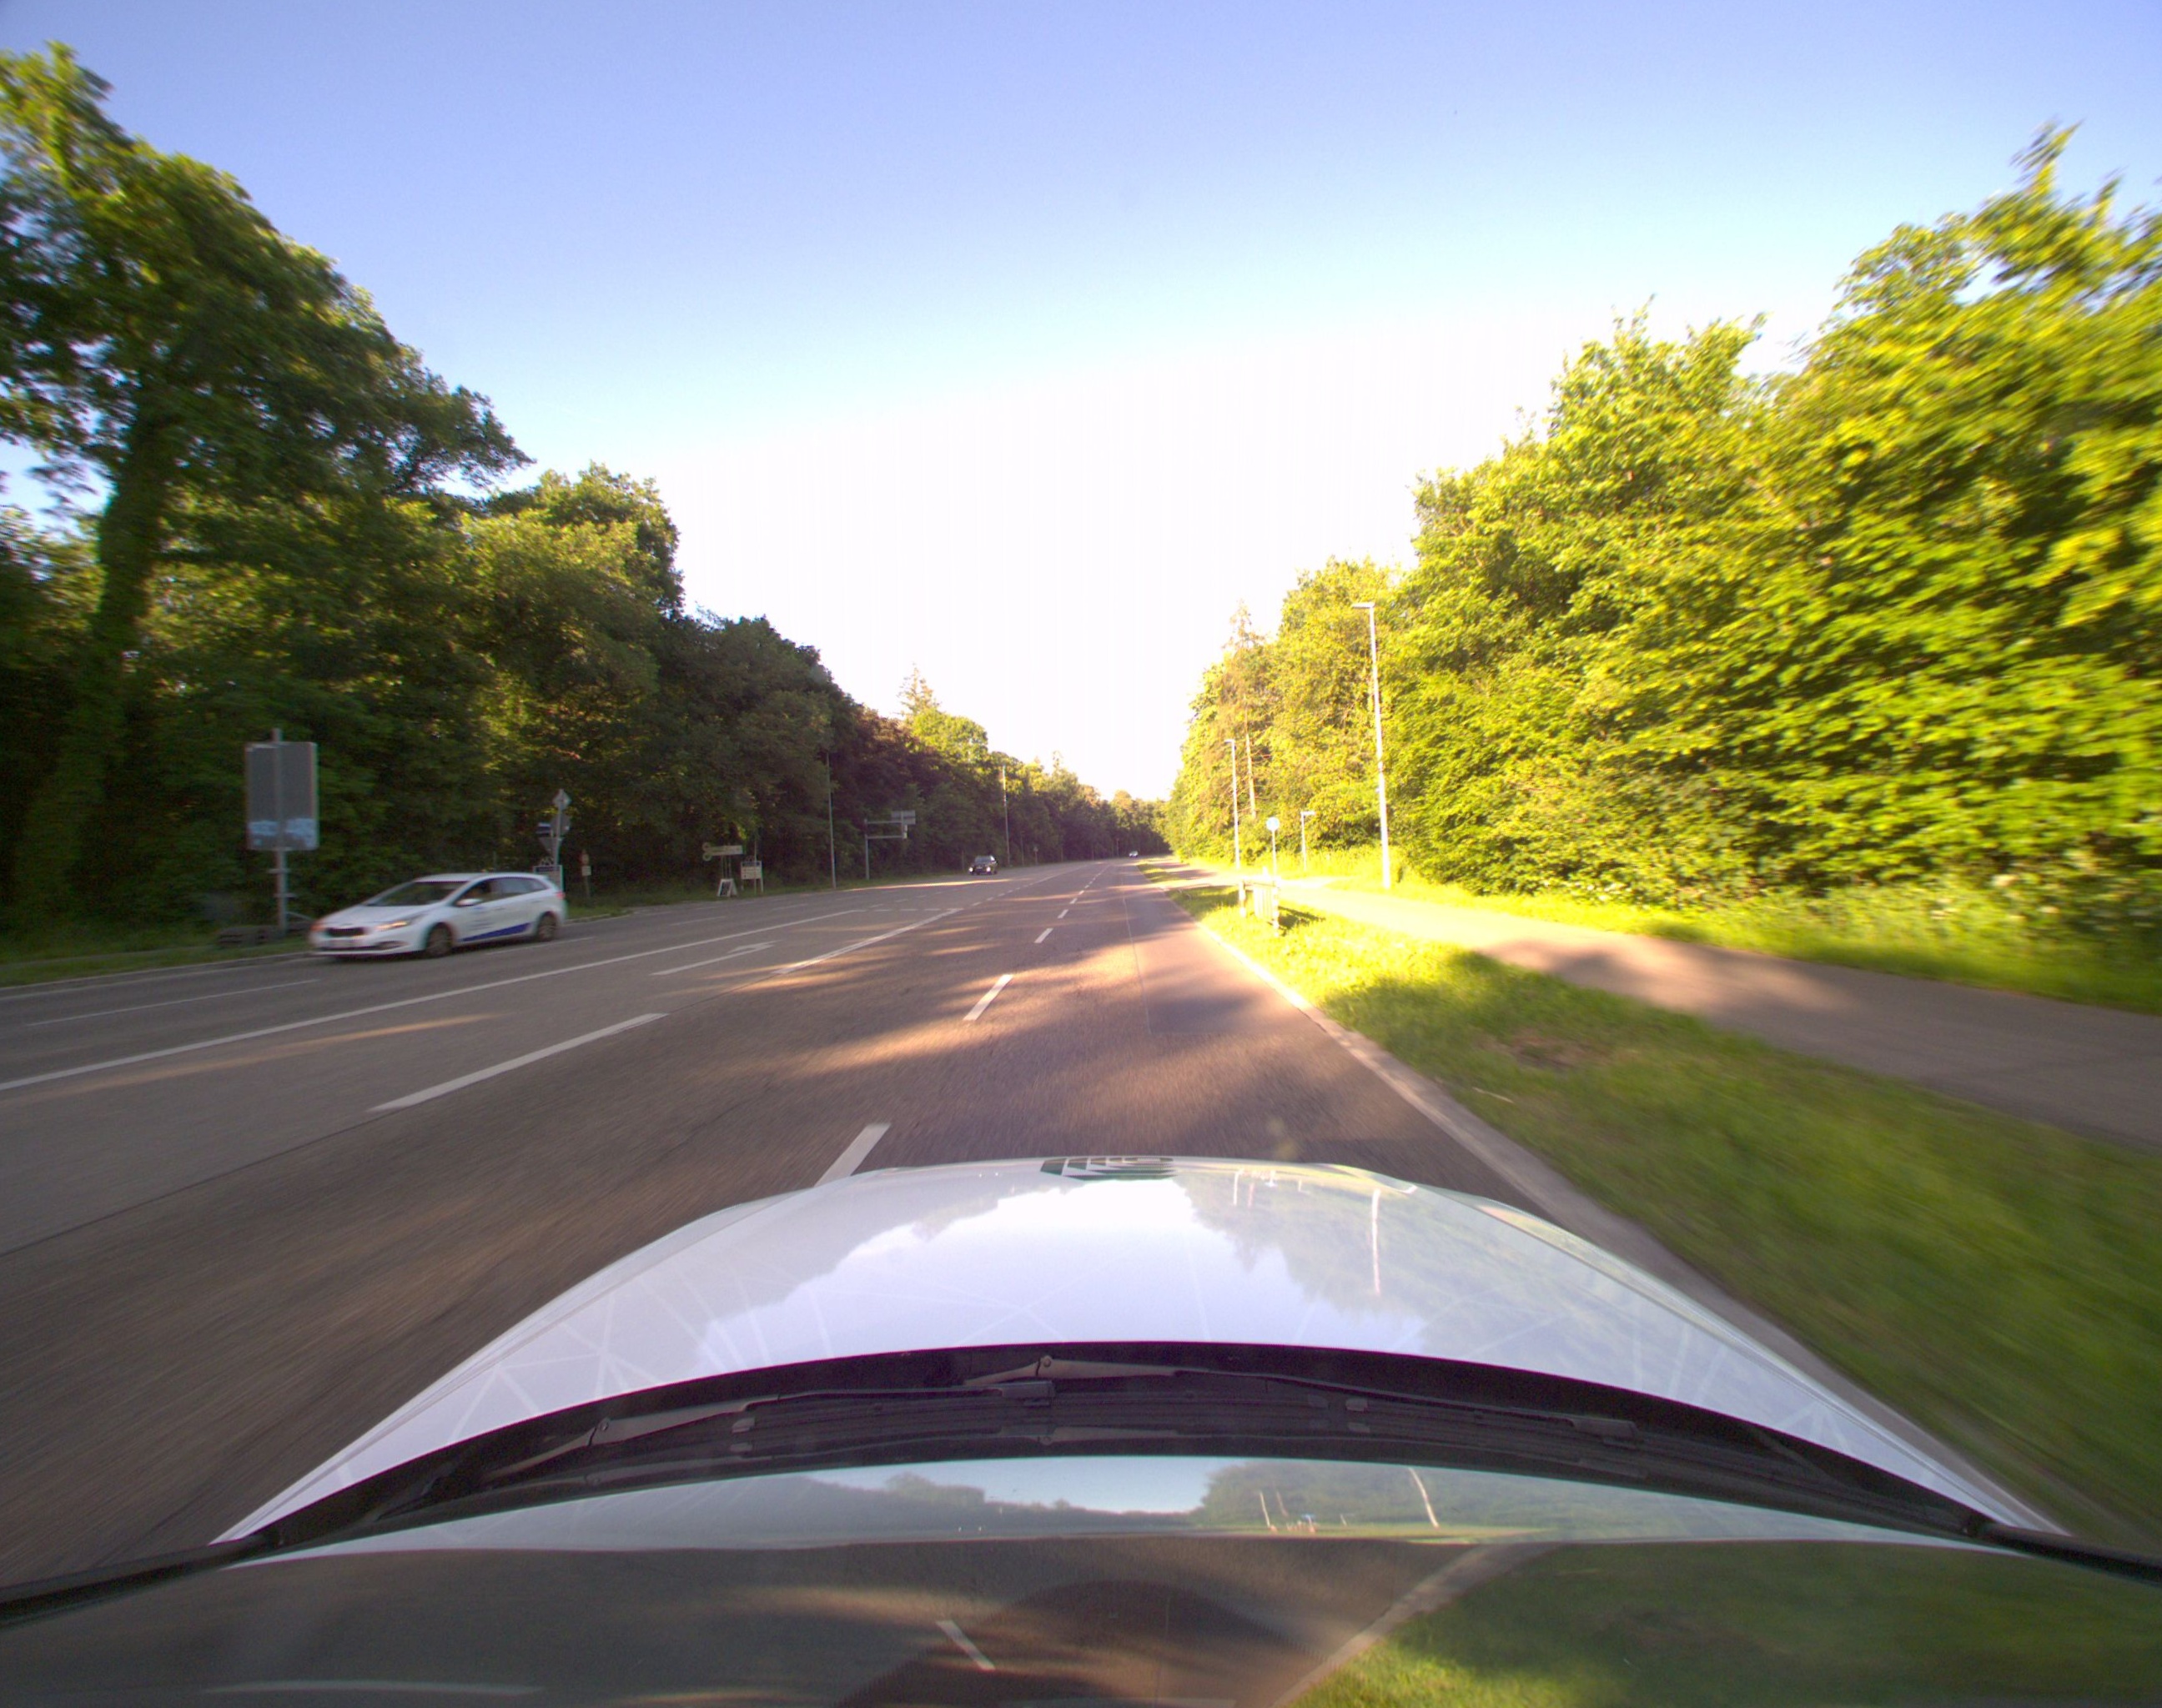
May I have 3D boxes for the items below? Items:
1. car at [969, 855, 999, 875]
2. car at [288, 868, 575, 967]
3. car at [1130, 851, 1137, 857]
[{"bbox_3d":[-8.396,0.945,70.489,1.817,1.589,4.354,-2,0,3],"label":"car"},{"bbox_3d":[-11.973,1.080,15.489,1.817,1.504,4.310,-2,0,3],"label":"car"},{"bbox_3d":[14.477,-0.072,225.522,1.900,1.664,4.738,-2,0,3],"label":"car"}]
